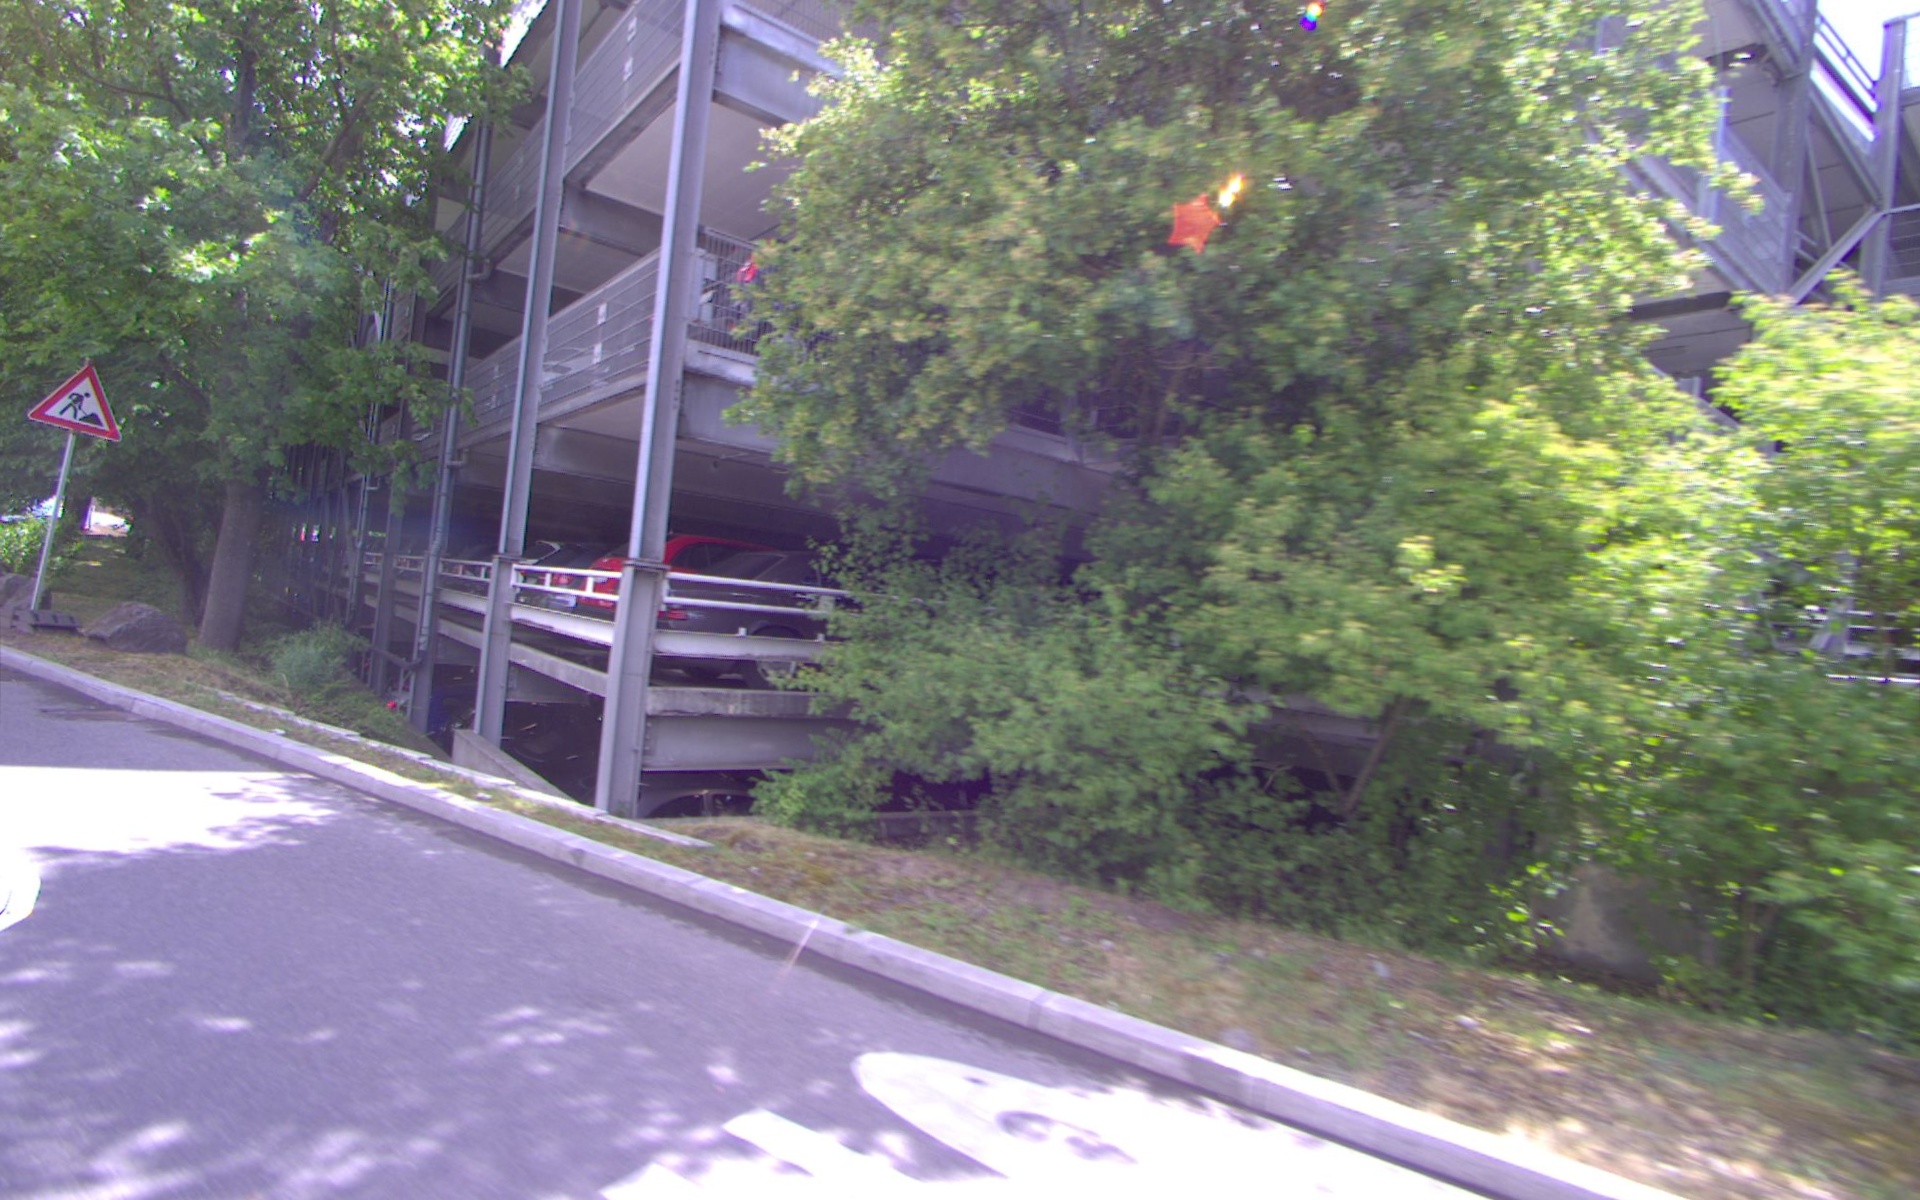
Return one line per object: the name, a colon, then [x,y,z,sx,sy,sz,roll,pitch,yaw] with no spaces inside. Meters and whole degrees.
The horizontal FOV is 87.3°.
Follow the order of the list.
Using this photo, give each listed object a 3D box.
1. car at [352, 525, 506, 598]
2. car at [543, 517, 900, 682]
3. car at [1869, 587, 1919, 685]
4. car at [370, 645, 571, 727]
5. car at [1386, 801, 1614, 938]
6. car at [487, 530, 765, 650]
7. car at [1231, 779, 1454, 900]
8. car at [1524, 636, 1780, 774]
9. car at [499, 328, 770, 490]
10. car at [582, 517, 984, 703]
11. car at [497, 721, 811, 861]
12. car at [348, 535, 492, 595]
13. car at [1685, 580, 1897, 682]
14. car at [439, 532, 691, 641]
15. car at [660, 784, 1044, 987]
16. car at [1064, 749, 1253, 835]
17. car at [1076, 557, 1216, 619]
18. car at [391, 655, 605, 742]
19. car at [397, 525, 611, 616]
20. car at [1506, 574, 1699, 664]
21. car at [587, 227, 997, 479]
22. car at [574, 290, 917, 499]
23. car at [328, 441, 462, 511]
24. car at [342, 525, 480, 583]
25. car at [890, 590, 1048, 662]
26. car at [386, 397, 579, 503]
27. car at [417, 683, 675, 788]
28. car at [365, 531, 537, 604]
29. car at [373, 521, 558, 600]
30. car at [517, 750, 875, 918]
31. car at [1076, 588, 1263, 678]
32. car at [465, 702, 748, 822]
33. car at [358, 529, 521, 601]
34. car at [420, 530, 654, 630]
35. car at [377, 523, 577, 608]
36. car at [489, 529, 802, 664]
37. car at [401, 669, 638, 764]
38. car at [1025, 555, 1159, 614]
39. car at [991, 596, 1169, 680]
car: [-16.236,-1.160,30.828,3.826,1.645,1.678,8,-1,-38]
car: [-2.891,0.038,12.592,3.829,1.532,1.817,8,-1,-40]
car: [15.312,0.674,14.999,3.677,1.342,1.816,6,0,-36]
car: [-11.434,2.041,23.584,3.829,1.470,1.817,8,-1,-40]
car: [8.717,4.196,16.145,3.824,1.442,1.735,6,0,-38]
car: [-5.332,-0.129,16.262,3.826,1.409,1.678,8,-1,-38]
car: [6.588,3.982,17.190,3.824,1.442,1.735,6,0,-38]
car: [9.954,1.493,14.397,3.899,1.571,1.752,6,0,-37]
car: [-5.181,-2.924,16.173,3.673,1.662,1.642,8,1,-37]
car: [-1.744,0.152,10.459,3.674,1.428,1.642,8,-1,-38]
car: [-4.335,2.687,14.503,3.829,1.470,1.817,8,-1,-40]
car: [-17.518,-1.124,32.701,3.826,1.409,1.678,8,-1,-38]
car: [14.038,0.547,16.949,3.677,1.342,1.816,6,0,-36]
car: [-7.055,-0.217,18.133,3.826,1.409,1.678,8,-1,-38]
car: [-1.100,2.945,11.059,3.707,1.470,1.817,8,-1,-40]
car: [4.157,3.894,20.836,3.824,1.328,1.662,6,0,-38]
car: [5.308,-0.323,28.587,3.677,1.342,1.816,6,0,-36]
car: [-10.073,2.177,22.044,3.829,1.470,1.817,8,-1,-40]
car: [-9.796,-0.617,21.732,3.826,1.409,1.678,8,-1,-38]
car: [12.375,0.382,19.320,3.677,1.342,1.816,6,0,-36]
car: [-1.628,-2.292,10.264,3.673,1.429,1.642,8,1,-37]
car: [-2.591,-2.368,12.483,3.673,1.582,1.642,8,1,-37]
car: [-19.172,-4.176,34.170,3.673,1.639,1.709,8,1,-37]
car: [-18.701,-1.561,34.349,3.826,1.409,1.759,8,-1,-38]
car: [0.275,0.700,26.358,3.824,1.504,1.678,6,0,-38]
car: [-11.040,-3.404,23.350,3.673,1.639,1.642,8,1,-37]
car: [-7.362,2.447,18.066,3.829,1.470,1.817,8,-1,-40]
car: [-13.718,-0.861,27.200,3.826,1.409,1.678,8,-1,-38]
car: [-12.428,-0.970,25.379,3.826,1.409,1.678,8,-1,-38]
car: [-3.215,2.798,12.600,3.829,1.470,1.817,8,-1,-40]
car: [4.494,0.721,21.361,3.824,1.504,1.735,6,0,-38]
car: [-5.656,2.597,16.304,3.829,1.470,1.817,8,-1,-40]
car: [-14.943,-0.982,28.973,3.826,1.507,1.678,8,-1,-38]
car: [-8.210,-0.367,19.676,3.826,1.409,1.678,8,-1,-38]
car: [-11.155,-0.783,23.352,3.826,1.409,1.678,8,-1,-38]
car: [-4.444,-0.019,14.428,3.825,1.409,1.795,8,-1,-37]
car: [-8.620,2.322,19.830,3.829,1.470,1.817,8,-1,-40]
car: [3.972,-0.457,30.141,3.677,1.342,1.816,6,0,-36]
car: [2.760,0.883,22.820,3.824,1.504,1.678,6,0,-38]
